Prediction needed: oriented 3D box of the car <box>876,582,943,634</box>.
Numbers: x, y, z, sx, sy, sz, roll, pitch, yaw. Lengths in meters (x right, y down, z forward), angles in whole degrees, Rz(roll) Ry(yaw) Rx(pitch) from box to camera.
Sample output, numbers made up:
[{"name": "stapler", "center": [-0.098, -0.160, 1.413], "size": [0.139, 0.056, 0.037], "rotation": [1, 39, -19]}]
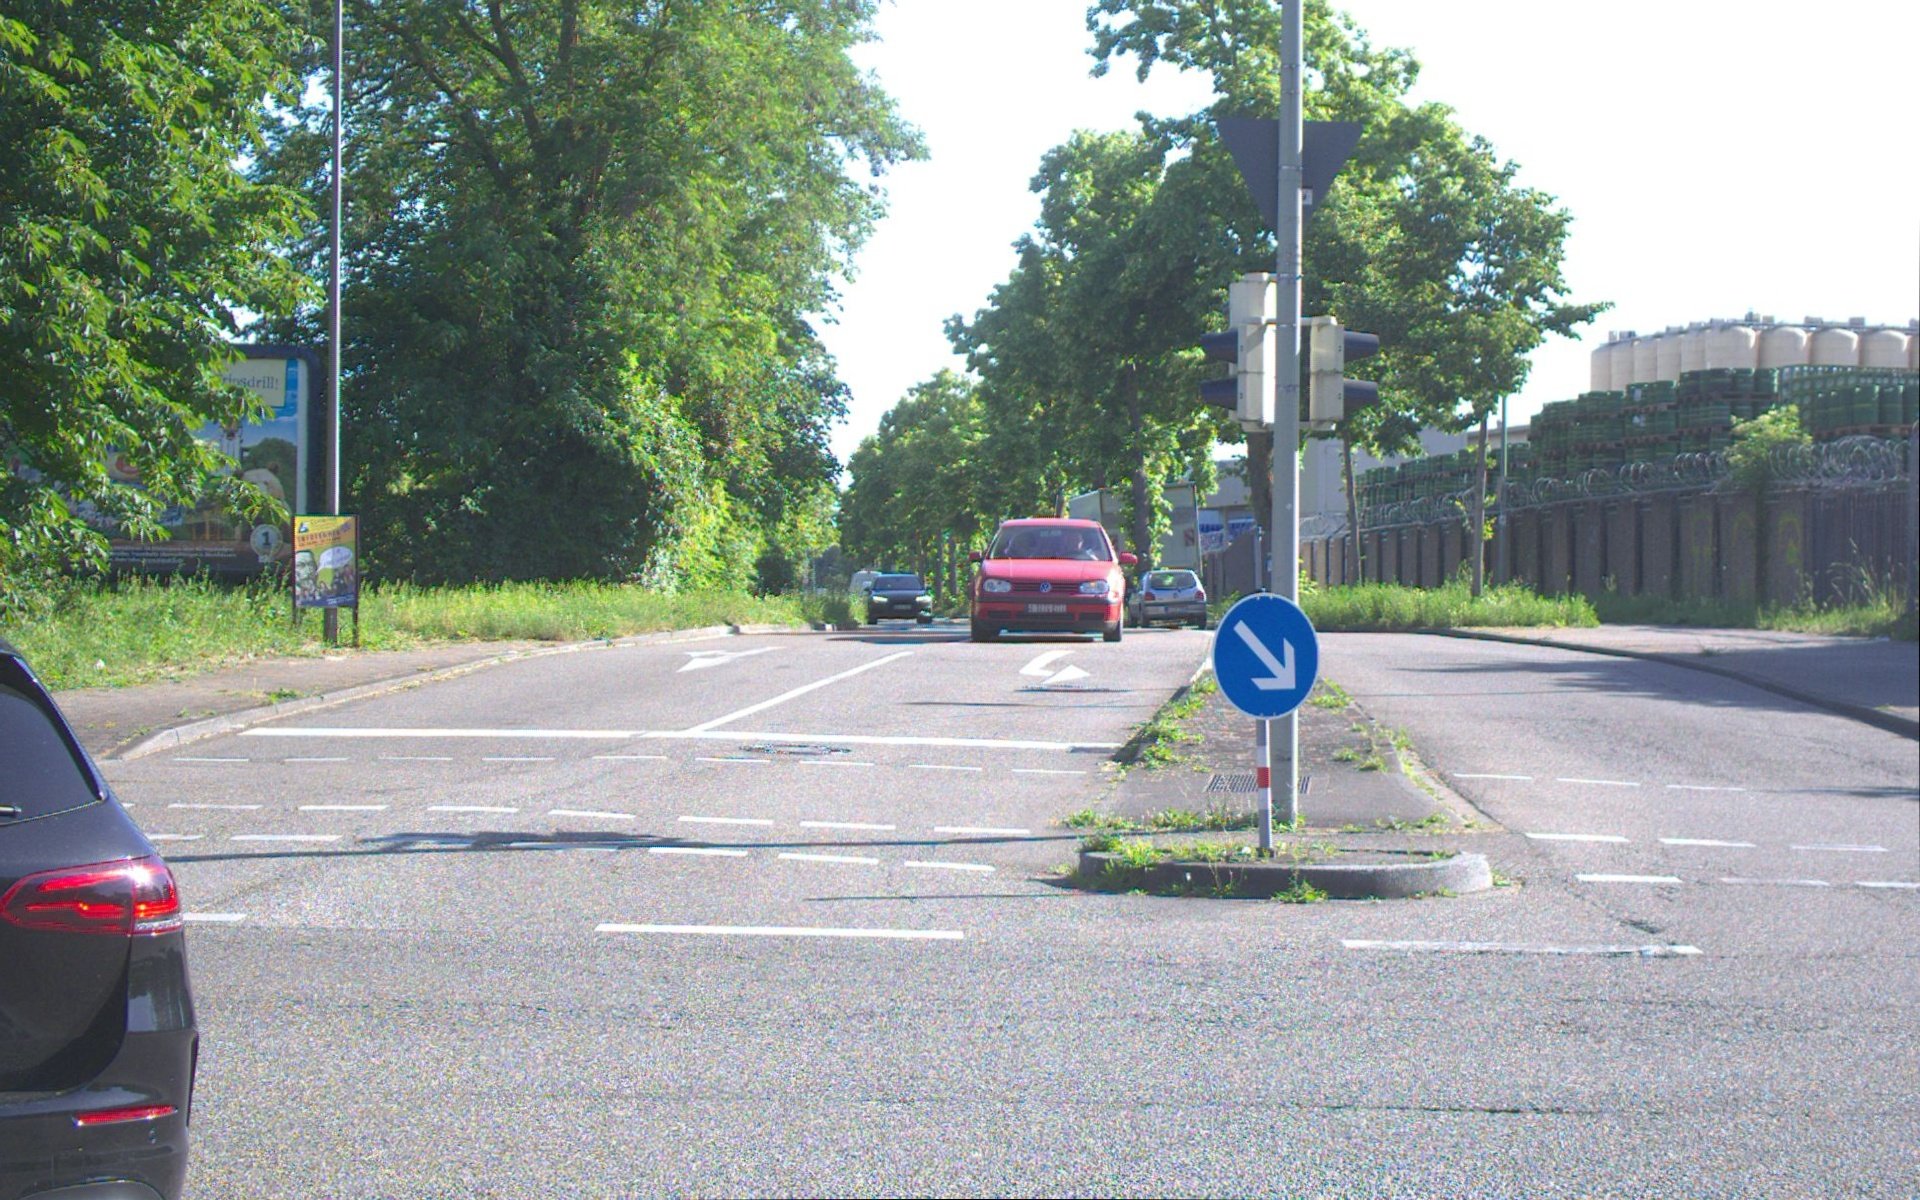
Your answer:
[{"name": "car", "center": [-1.472, 0.218, 98.924], "size": [1.857, 1.465, 4.139], "rotation": [0, 0, -2]}]

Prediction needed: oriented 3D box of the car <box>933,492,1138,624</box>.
[{"name": "car", "center": [0.826, -0.477, 40.316], "size": [1.857, 1.465, 4.139], "rotation": [0, 0, -7]}]

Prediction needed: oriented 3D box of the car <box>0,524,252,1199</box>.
[{"name": "car", "center": [-3.269, 0.616, 7.638], "size": [1.770, 1.587, 3.988], "rotation": [0, 1, -37]}]

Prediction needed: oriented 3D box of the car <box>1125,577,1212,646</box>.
[{"name": "car", "center": [5.033, 0.265, 83.277], "size": [1.688, 1.626, 3.131], "rotation": [0, 0, -5]}]
